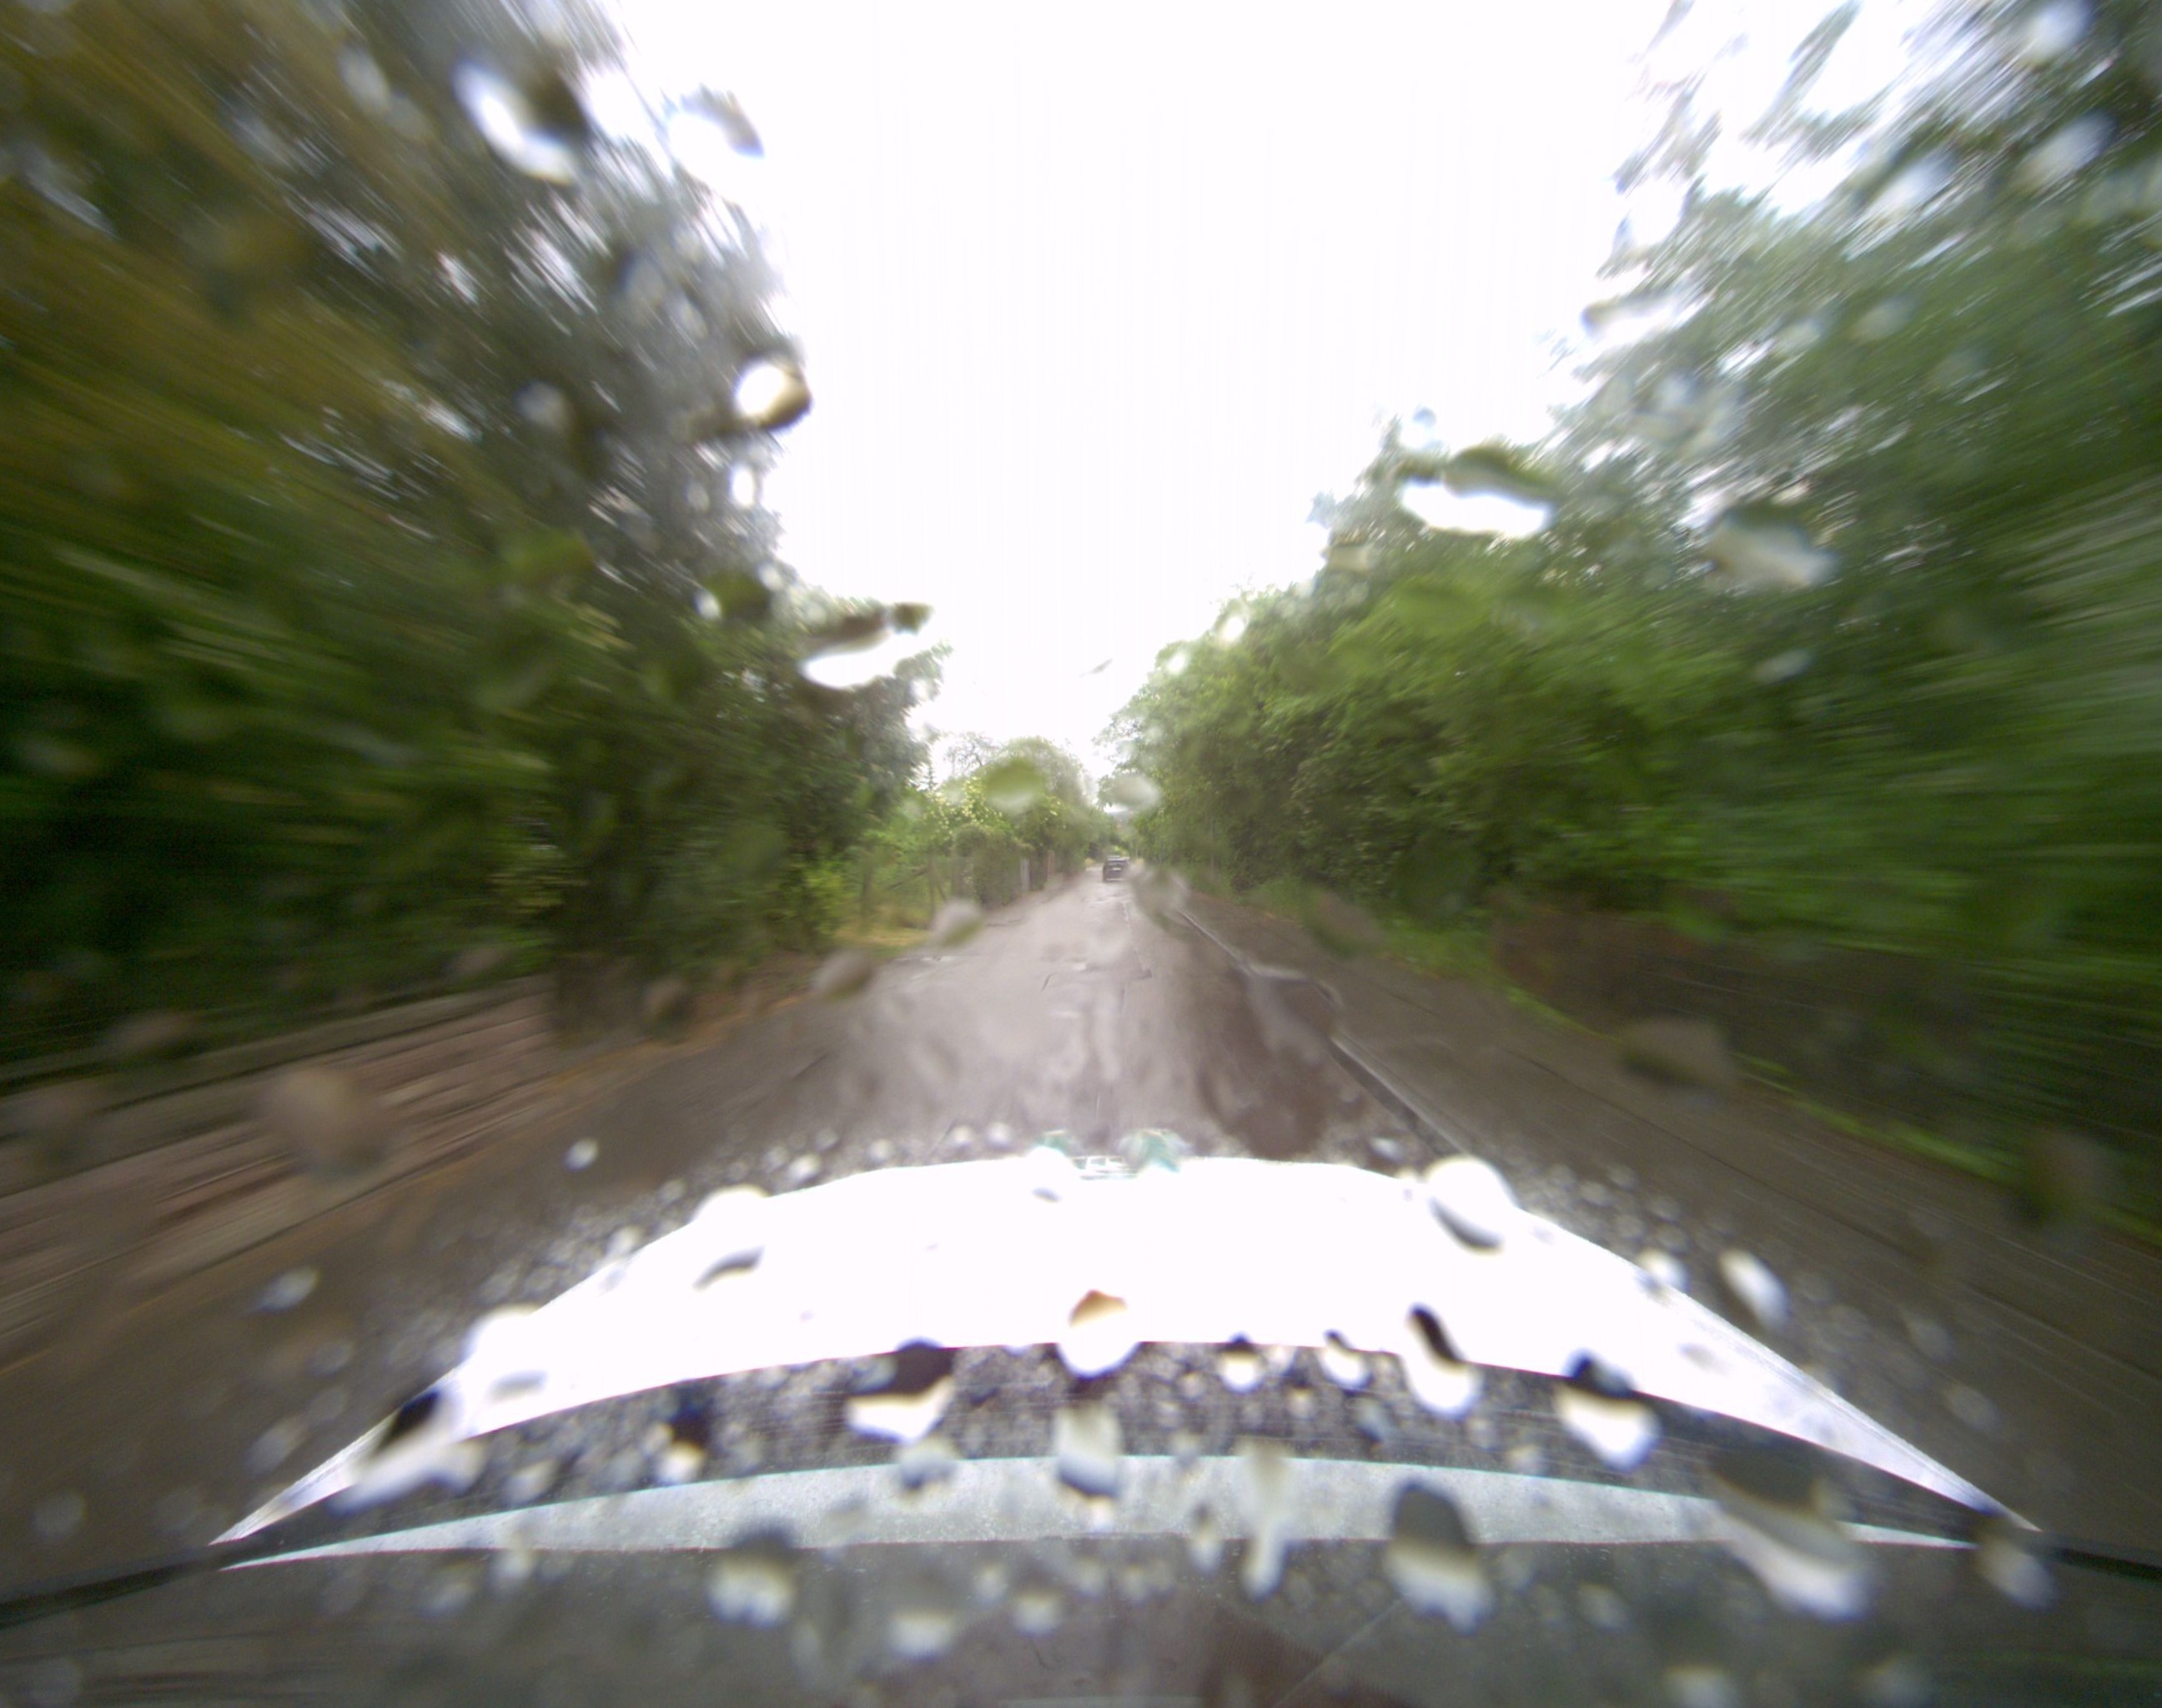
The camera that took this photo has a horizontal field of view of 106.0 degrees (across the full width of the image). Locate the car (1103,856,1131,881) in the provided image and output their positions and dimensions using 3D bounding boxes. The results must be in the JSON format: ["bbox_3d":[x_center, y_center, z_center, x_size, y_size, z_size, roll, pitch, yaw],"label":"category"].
[{"bbox_3d":[2.353,0.935,51.958,1.627,1.450,3.548,-2,-1,4],"label":"car"}]
